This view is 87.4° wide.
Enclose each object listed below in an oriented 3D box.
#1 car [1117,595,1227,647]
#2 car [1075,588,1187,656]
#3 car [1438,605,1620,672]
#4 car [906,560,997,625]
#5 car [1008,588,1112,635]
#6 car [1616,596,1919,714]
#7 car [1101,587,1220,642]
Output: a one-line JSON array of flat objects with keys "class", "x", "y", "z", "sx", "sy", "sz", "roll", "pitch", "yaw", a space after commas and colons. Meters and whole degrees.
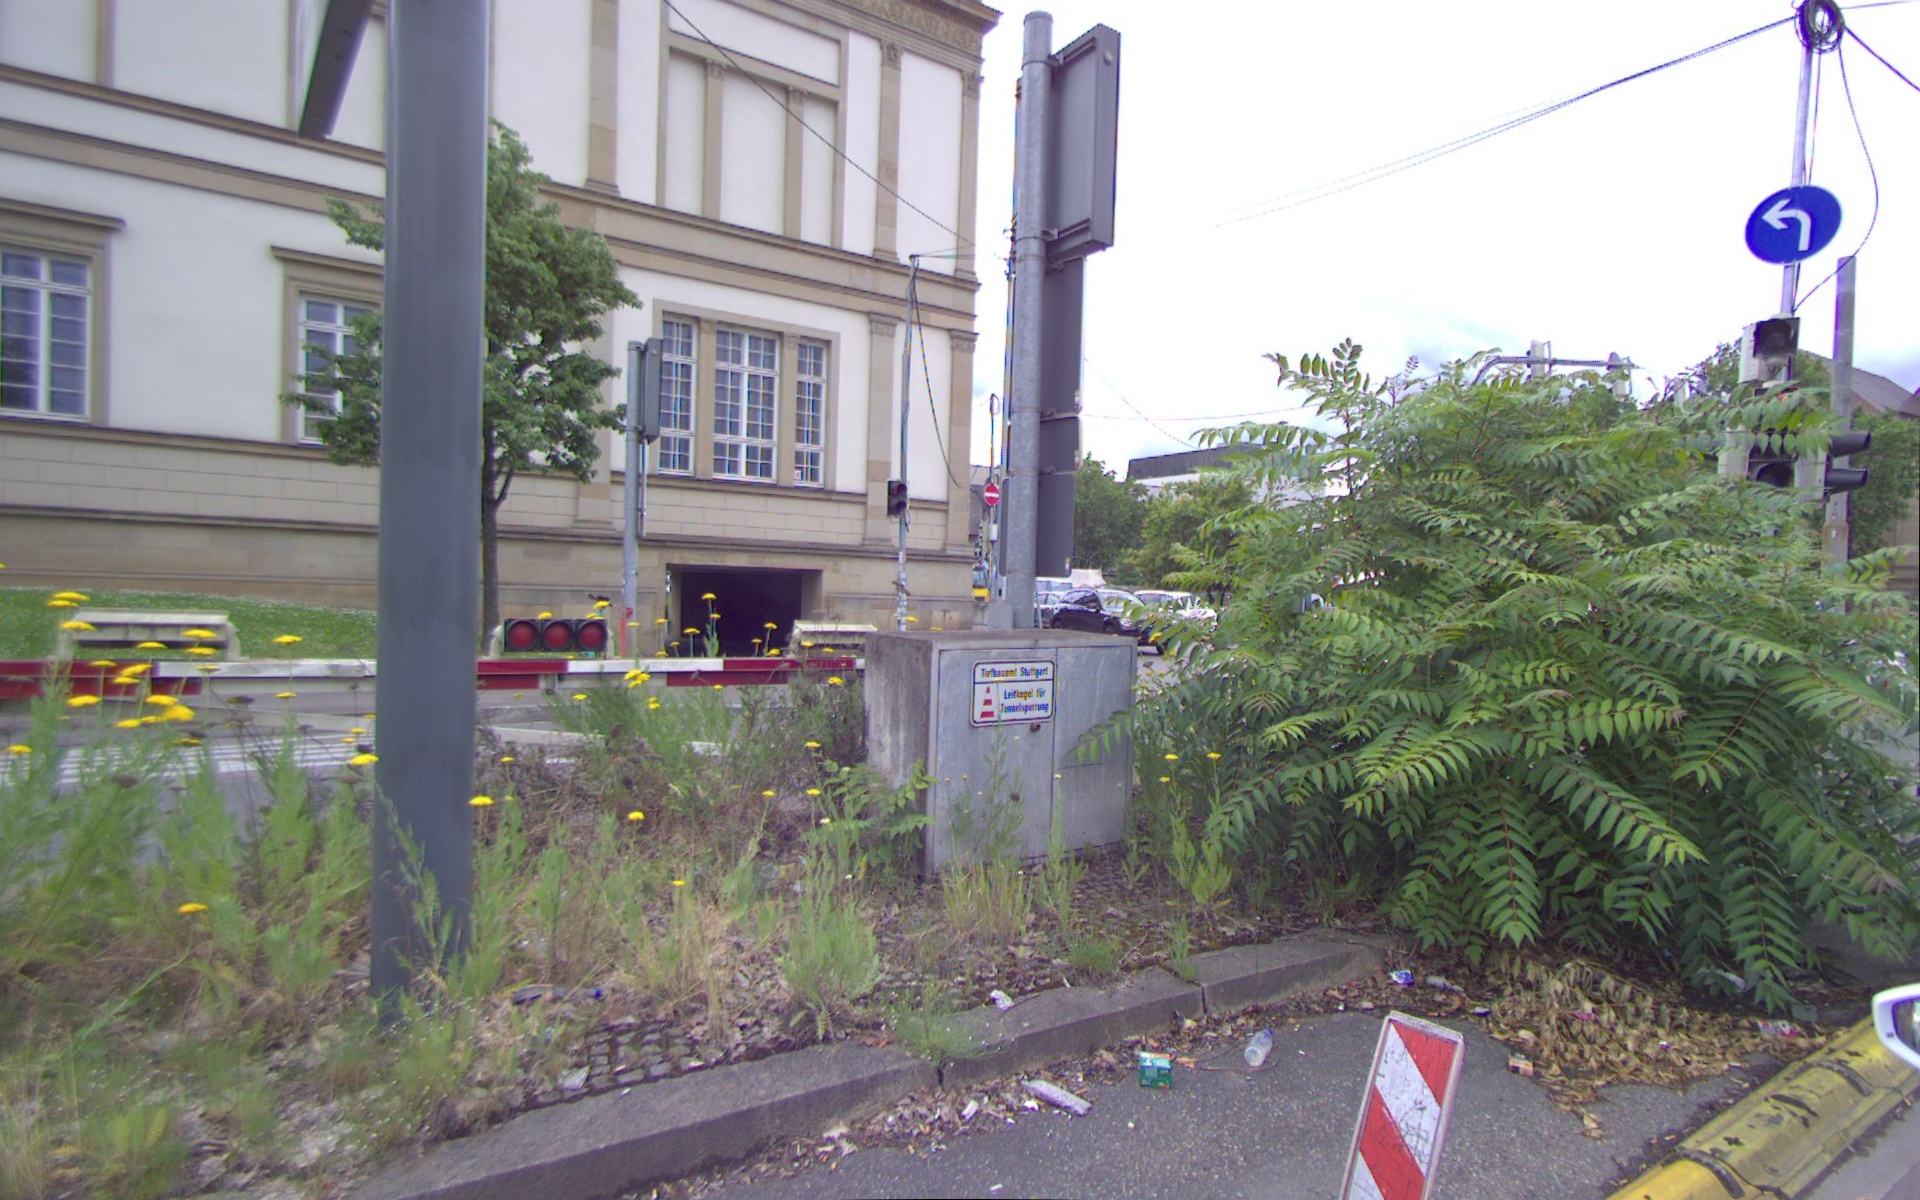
[{"class": "car", "x": 8.052, "y": 0.766, "z": 38.441, "sx": 1.889, "sy": 1.763, "sz": 3.964, "roll": 2, "pitch": 1, "yaw": -32}, {"class": "car", "x": 4.535, "y": 0.563, "z": 27.323, "sx": 1.851, "sy": 1.647, "sz": 4.366, "roll": 2, "pitch": 0, "yaw": -6}, {"class": "car", "x": 17.857, "y": 1.160, "z": 31.751, "sx": 1.850, "sy": 1.858, "sz": 4.680, "roll": 2, "pitch": 0, "yaw": -32}, {"class": "car", "x": -0.414, "y": -0.312, "z": 43.027, "sx": 1.978, "sy": 2.585, "sz": 4.083, "roll": 2, "pitch": 0, "yaw": -32}, {"class": "car", "x": 3.501, "y": 0.388, "z": 35.773, "sx": 1.695, "sy": 1.563, "sz": 3.830, "roll": 2, "pitch": 0, "yaw": -32}, {"class": "car", "x": 14.668, "y": 0.900, "z": 18.177, "sx": 1.977, "sy": 1.829, "sz": 4.248, "roll": 2, "pitch": -1, "yaw": -30}, {"class": "car", "x": 7.165, "y": 0.504, "z": 36.215, "sx": 1.889, "sy": 1.763, "sz": 4.051, "roll": 2, "pitch": 1, "yaw": -32}]
